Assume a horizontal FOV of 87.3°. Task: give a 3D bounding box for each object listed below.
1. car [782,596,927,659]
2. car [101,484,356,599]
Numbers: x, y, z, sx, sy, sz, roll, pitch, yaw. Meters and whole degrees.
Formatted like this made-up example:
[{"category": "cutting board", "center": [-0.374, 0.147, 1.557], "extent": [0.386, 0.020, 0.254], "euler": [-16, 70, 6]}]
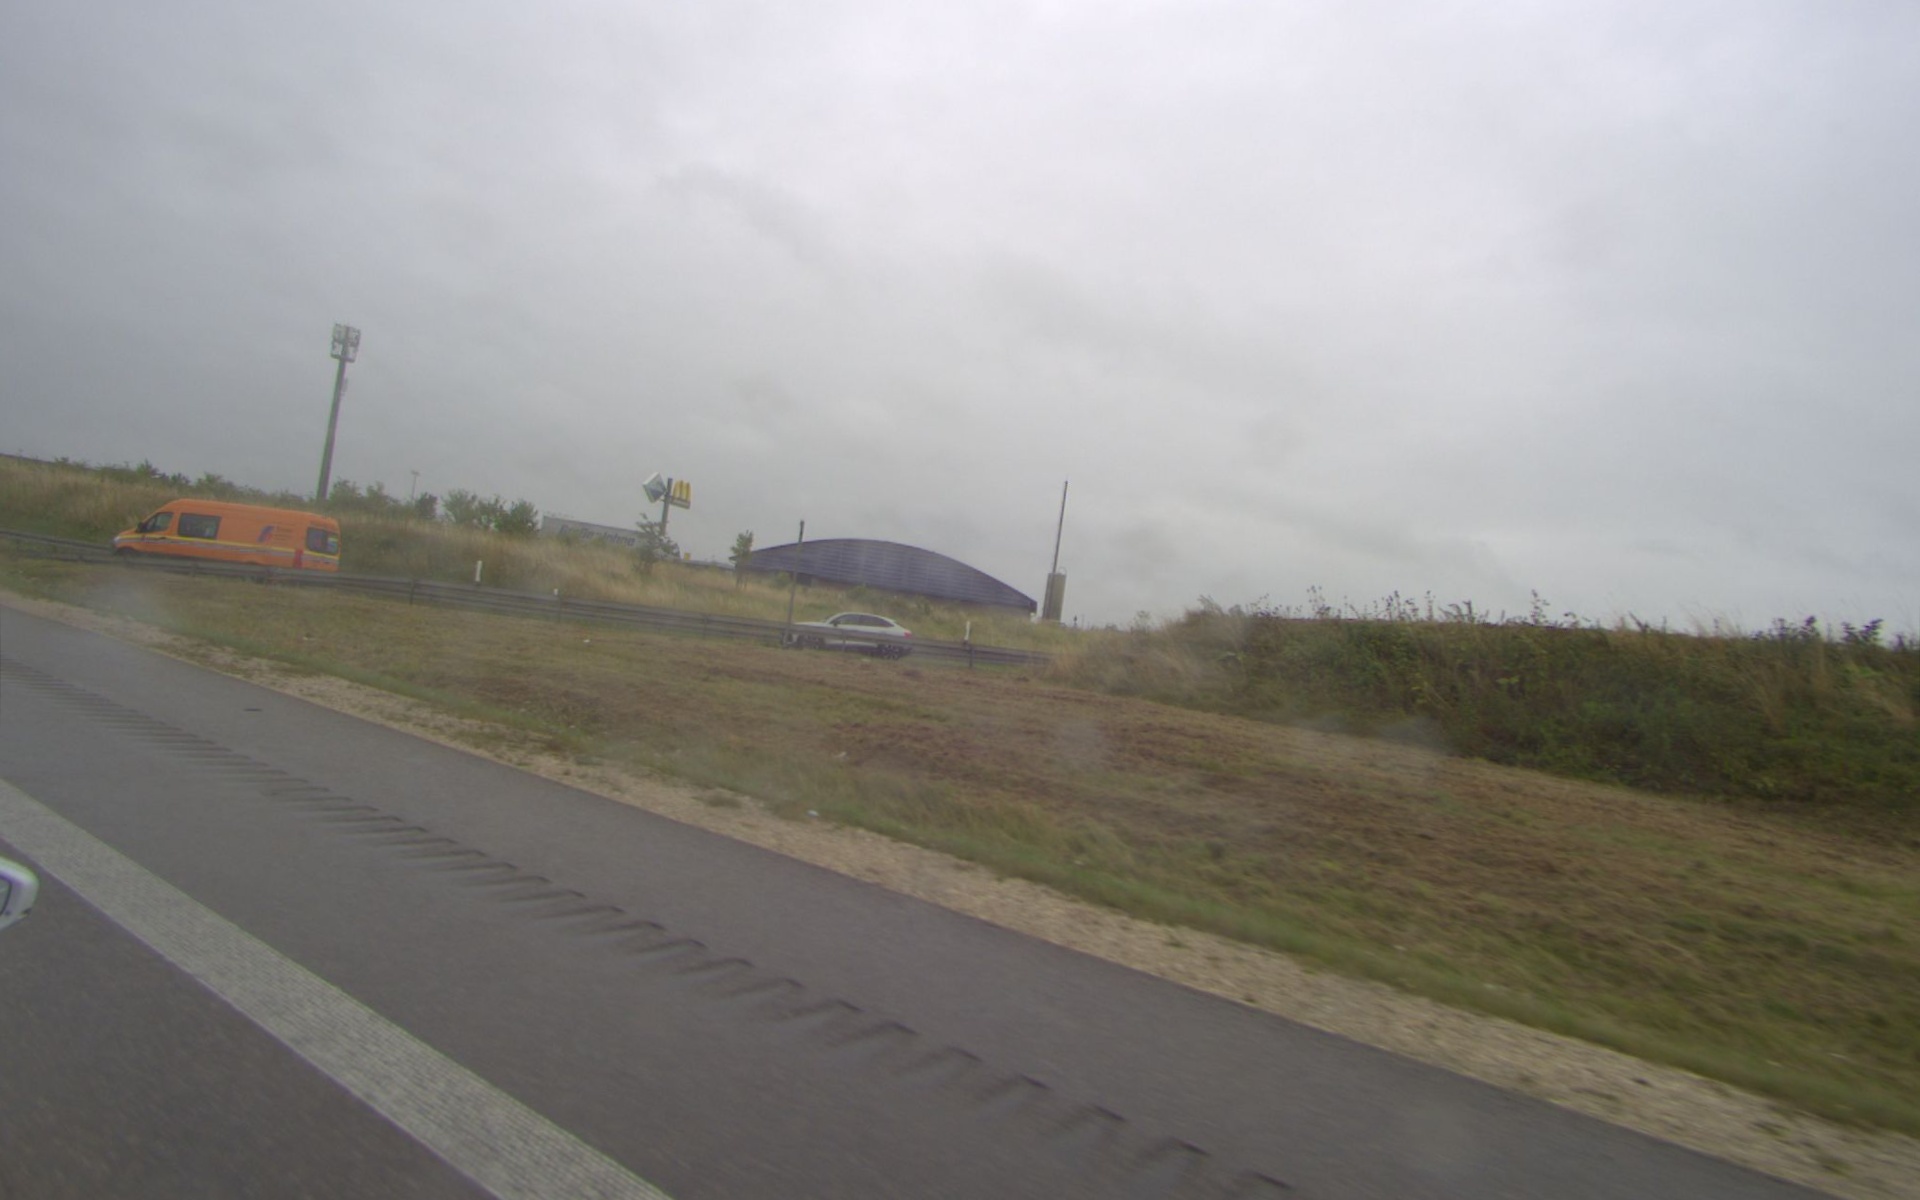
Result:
[{"category": "car", "center": [-3.527, 0.939, 33.492], "extent": [4.410, 1.501, 1.910], "euler": [8, -4, -17]}, {"category": "car", "center": [-24.055, -1.879, 33.225], "extent": [6.758, 2.644, 2.070], "euler": [8, -2, 3]}]
